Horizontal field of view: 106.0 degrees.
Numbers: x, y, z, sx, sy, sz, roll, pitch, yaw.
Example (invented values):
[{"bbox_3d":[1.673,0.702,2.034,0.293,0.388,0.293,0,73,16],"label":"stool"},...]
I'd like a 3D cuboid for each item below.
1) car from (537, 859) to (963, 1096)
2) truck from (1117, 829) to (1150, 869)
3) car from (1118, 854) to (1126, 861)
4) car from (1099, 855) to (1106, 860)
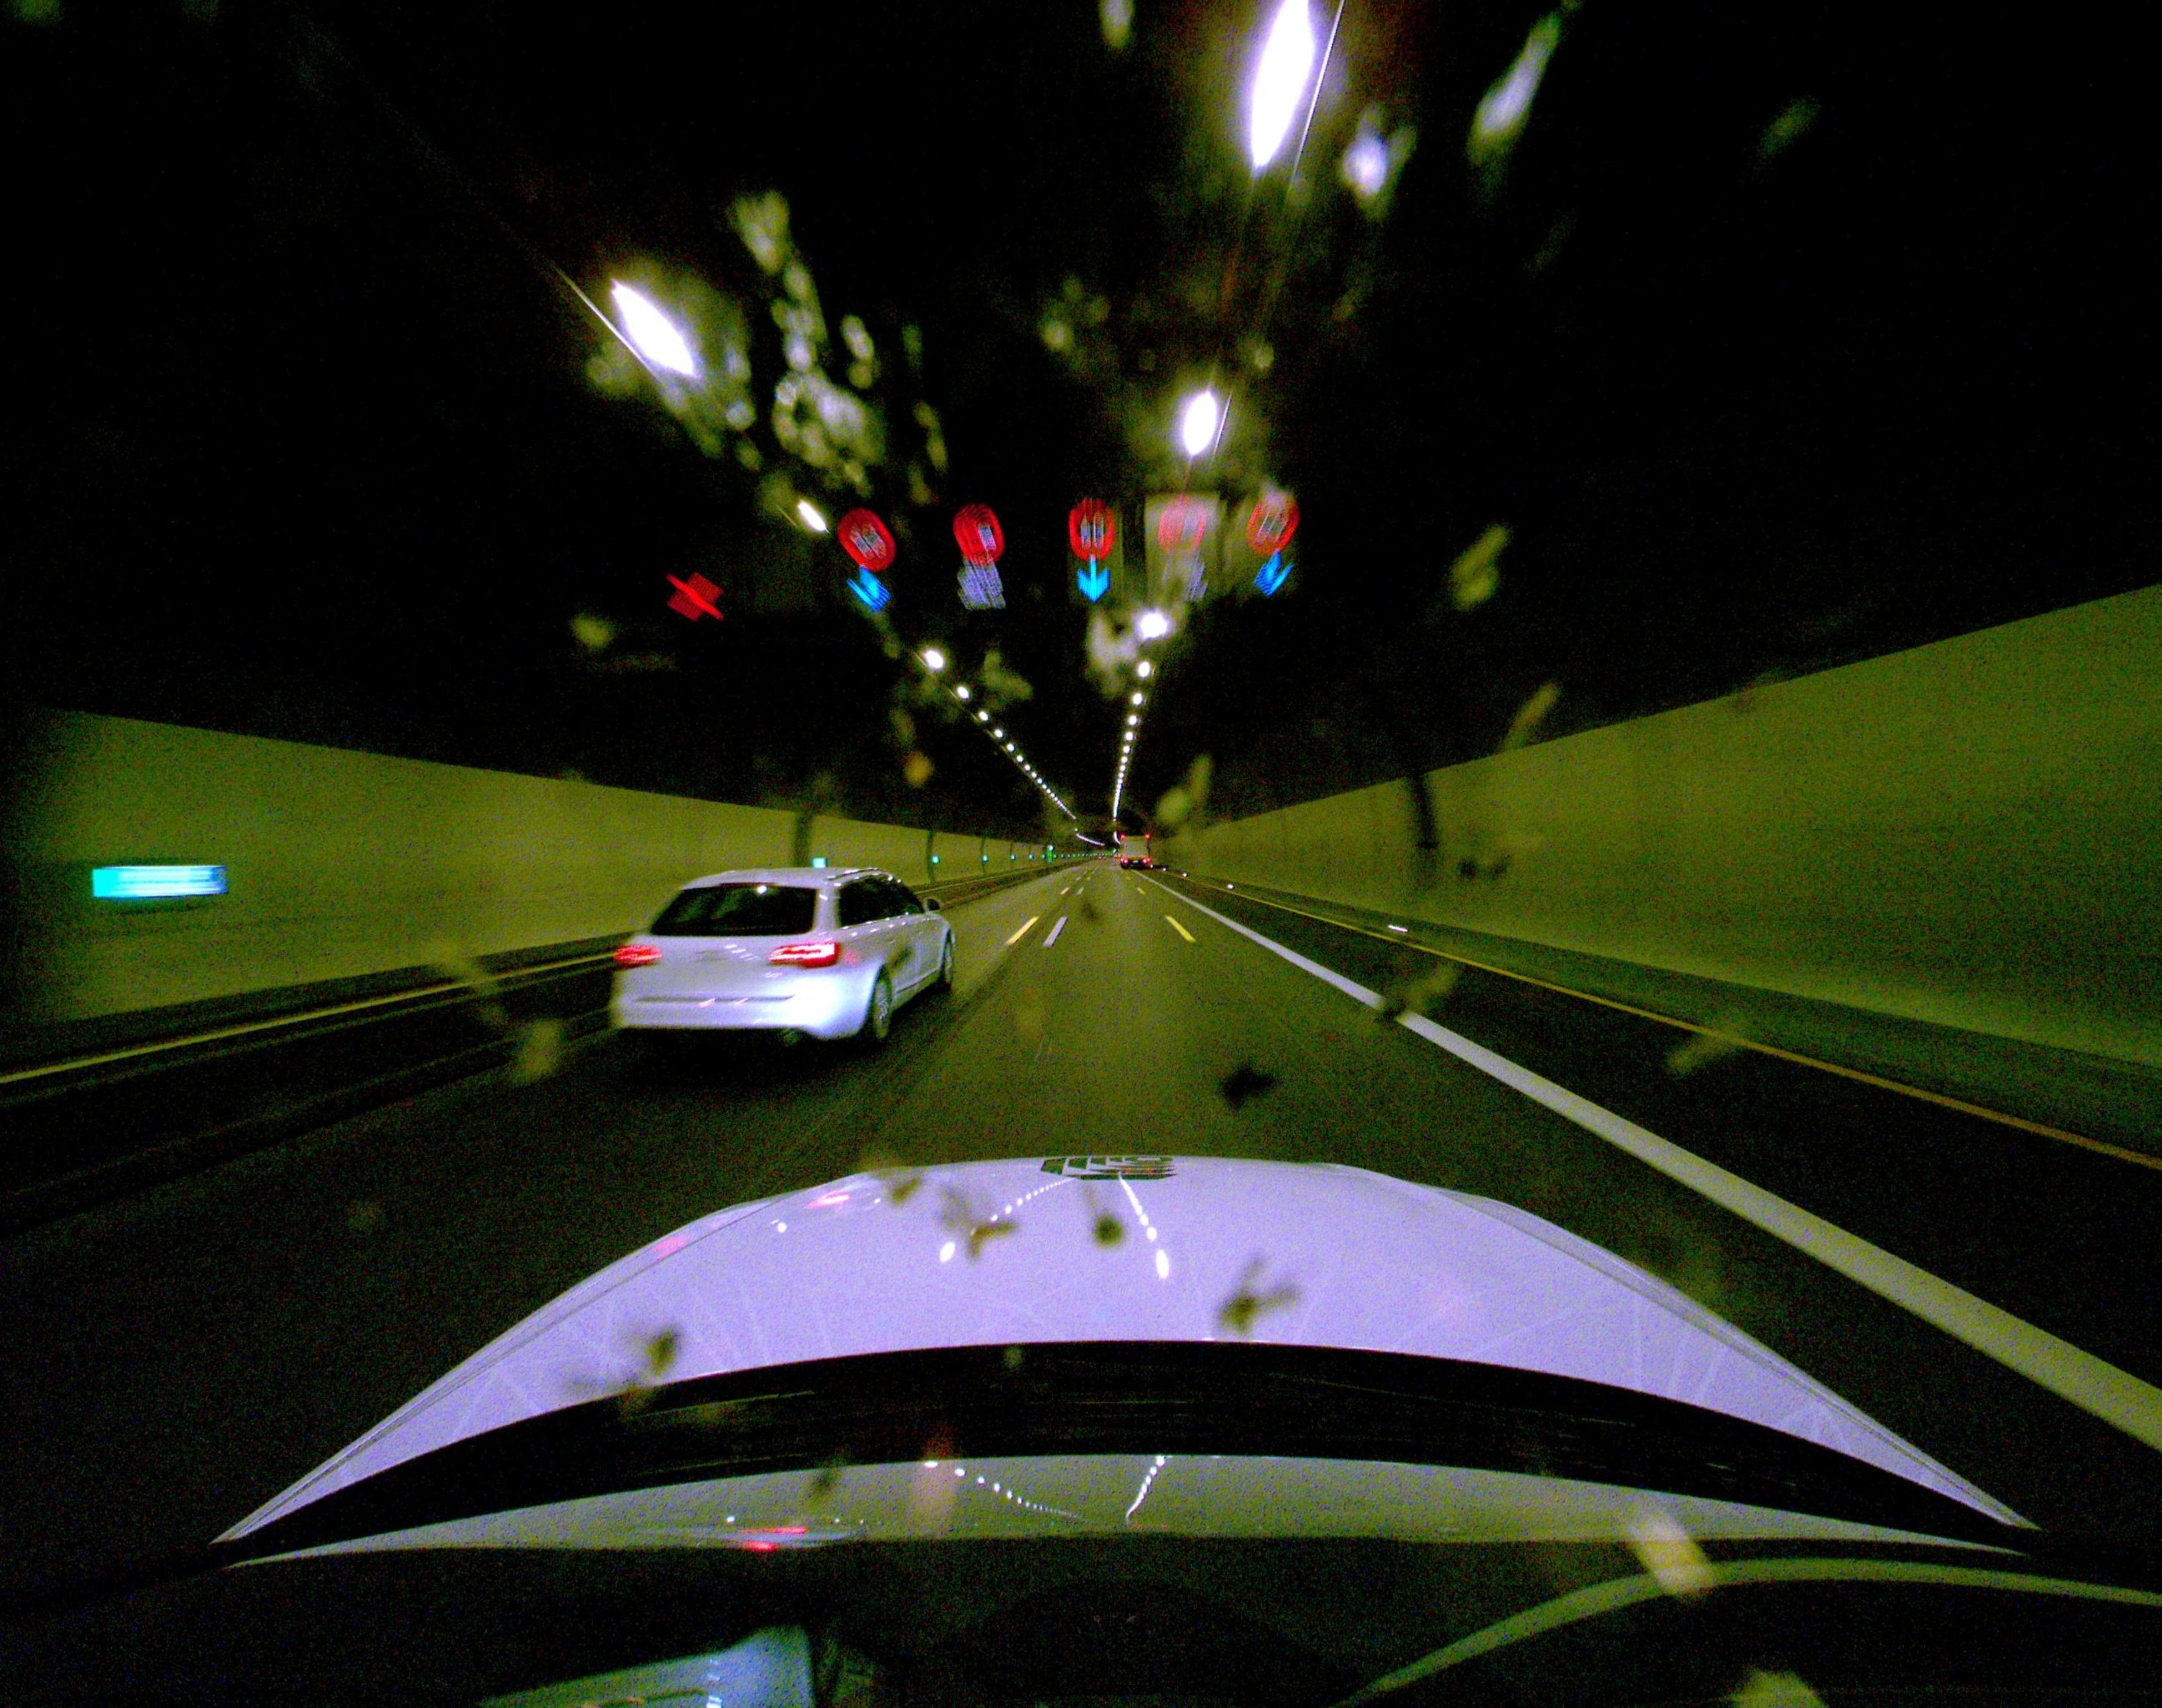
[{"bbox_3d":[-2.475,0.807,7.677,1.897,1.485,4.944,-1,0,1],"label":"car"},{"bbox_3d":[5.478,-0.437,86.603,3.080,3.918,10.372,-2,-1,2],"label":"truck"},{"bbox_3d":[8.859,0.795,176.298,1.732,1.461,3.964,-3,1,3],"label":"car"},{"bbox_3d":[6.129,0.973,228.329,1.752,1.461,4.121,-3,1,2],"label":"car"}]
